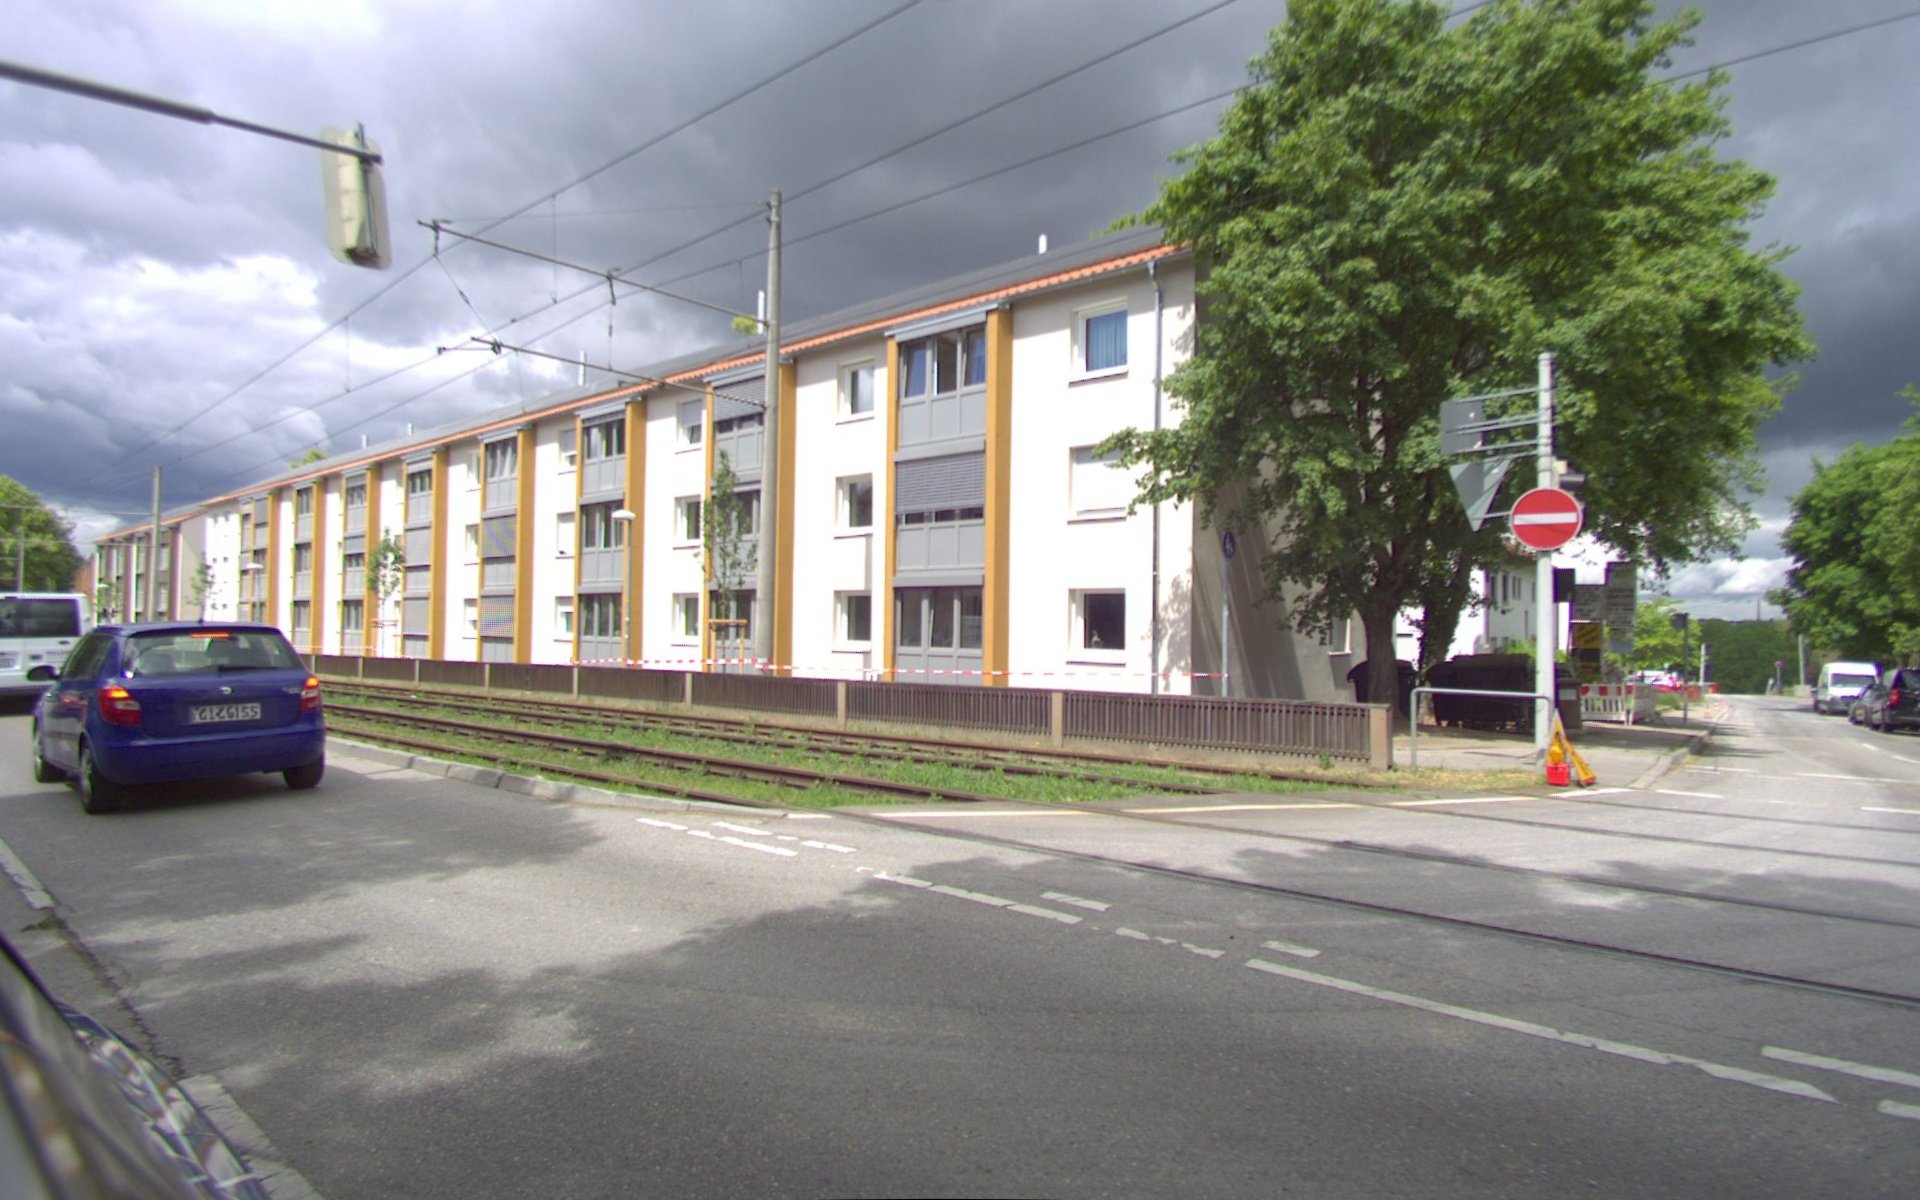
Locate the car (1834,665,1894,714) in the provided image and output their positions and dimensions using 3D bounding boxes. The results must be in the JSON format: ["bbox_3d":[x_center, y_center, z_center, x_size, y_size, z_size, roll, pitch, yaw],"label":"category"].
[{"bbox_3d":[42.344,4.162,47.447,1.999,2.118,3.944,-1,-4,42],"label":"car"}]

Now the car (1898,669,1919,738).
[{"bbox_3d":[27.907,2.938,28.551,1.999,1.873,3.944,-1,-4,42],"label":"car"}]

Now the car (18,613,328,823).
[{"bbox_3d":[-7.253,0.900,9.193,3.805,1.497,1.565,-2,-1,42],"label":"car"}]

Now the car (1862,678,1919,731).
[{"bbox_3d":[31.507,3.454,33.801,1.852,1.500,3.947,-1,-2,39],"label":"car"}]

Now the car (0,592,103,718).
[{"bbox_3d":[-16.935,0.923,17.863,4.782,2.011,1.974,-1,-1,40],"label":"car"}]

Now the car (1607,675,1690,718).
[{"bbox_3d":[38.063,5.284,56.001,3.623,2.029,1.938,-1,0,40],"label":"car"}]
